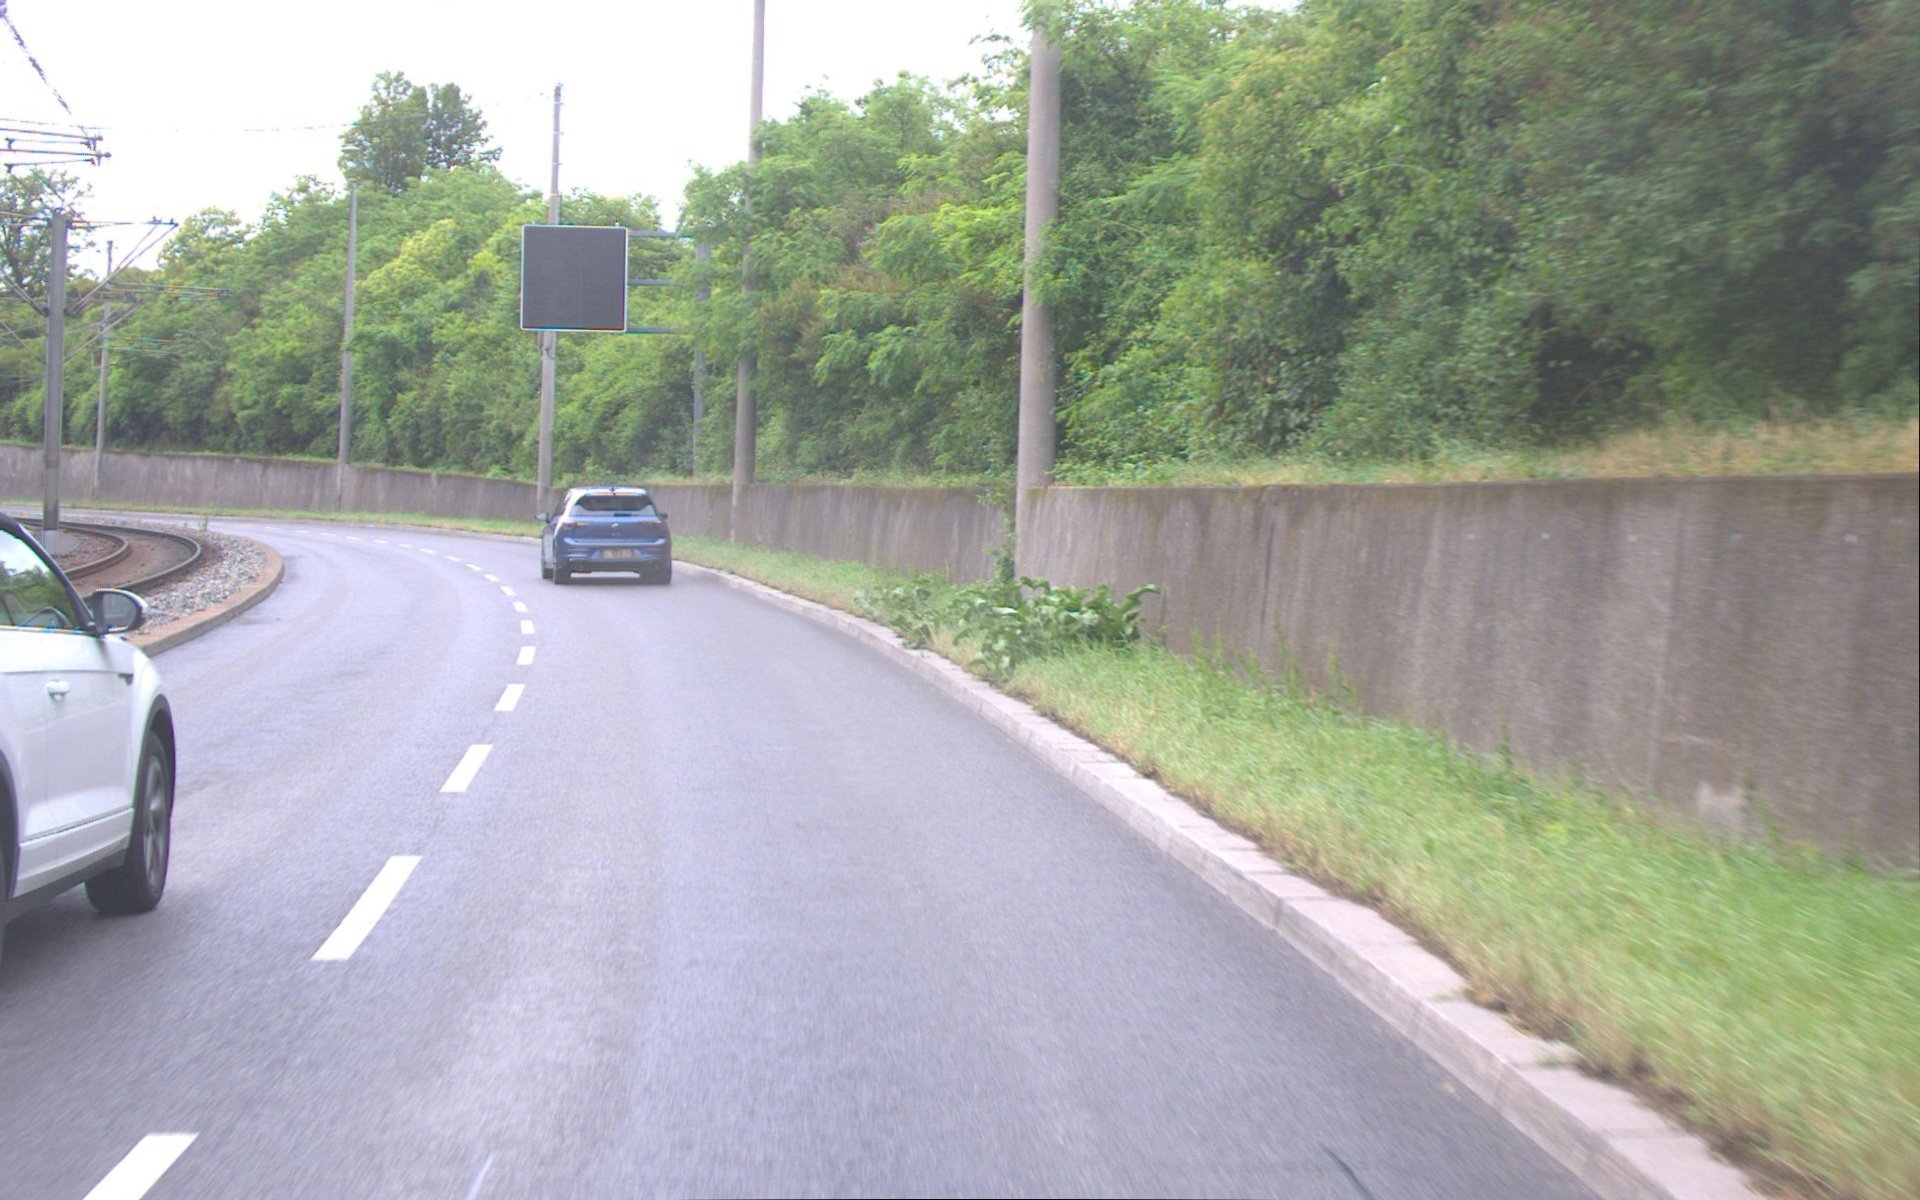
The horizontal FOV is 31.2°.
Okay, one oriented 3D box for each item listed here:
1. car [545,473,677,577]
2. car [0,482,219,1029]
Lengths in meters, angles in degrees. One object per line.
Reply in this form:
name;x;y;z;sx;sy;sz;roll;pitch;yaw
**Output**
car;-5.375;-1.169;52.591;1.763;1.496;4.001;1;2;-9
car;-3.713;0.398;11.025;1.871;1.519;4.541;0;2;-2
